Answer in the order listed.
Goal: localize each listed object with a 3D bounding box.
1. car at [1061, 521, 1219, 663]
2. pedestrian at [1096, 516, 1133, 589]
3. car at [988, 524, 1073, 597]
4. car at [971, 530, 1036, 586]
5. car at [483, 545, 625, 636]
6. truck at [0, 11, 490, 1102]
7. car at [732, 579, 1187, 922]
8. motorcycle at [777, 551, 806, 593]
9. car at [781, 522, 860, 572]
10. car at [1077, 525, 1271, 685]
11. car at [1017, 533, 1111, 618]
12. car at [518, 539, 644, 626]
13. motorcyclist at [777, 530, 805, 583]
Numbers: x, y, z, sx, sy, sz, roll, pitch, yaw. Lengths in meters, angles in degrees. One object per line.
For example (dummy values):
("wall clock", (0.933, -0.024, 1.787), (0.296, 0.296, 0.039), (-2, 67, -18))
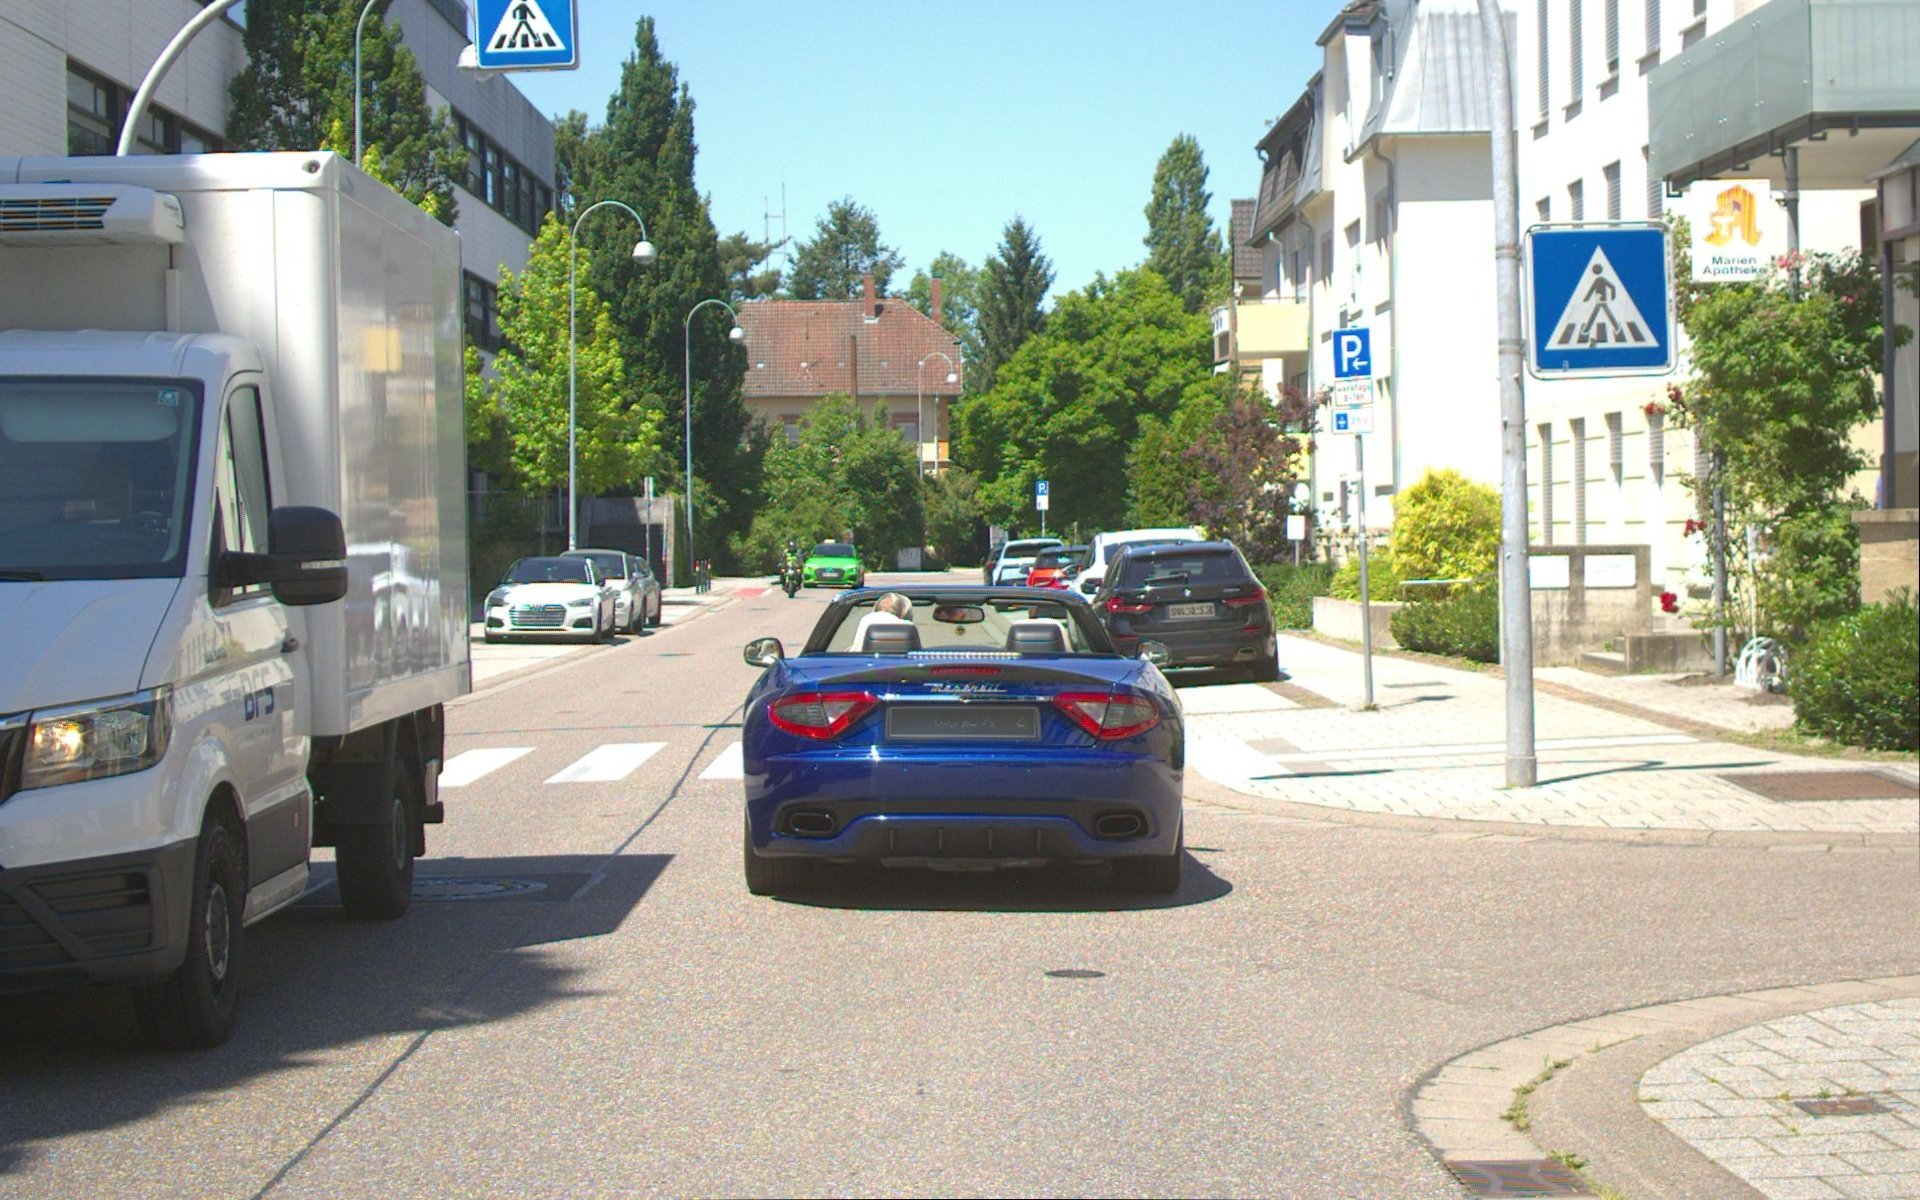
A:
("car", (2.201, -0.139, 42.990), (1.705, 1.660, 4.580), (0, 1, 0))
("pedestrian", (3.670, -1.130, 81.608), (0.740, 1.664, 0.706), (-3, 1, -2))
("car", (1.645, -0.955, 81.326), (1.843, 1.614, 4.427), (-2, 1, 0))
("car", (1.198, -1.182, 95.857), (1.631, 1.441, 4.398), (-3, 1, -1))
("car", (-6.672, -0.189, 56.911), (1.822, 1.406, 4.577), (1, 1, 0))
("truck", (-3.355, -0.154, 12.521), (2.420, 2.973, 6.258), (-1, 1, 0))
("car", (-0.027, 0.591, 16.167), (1.826, 1.332, 4.700), (0, 1, -1))
("motorcycle", (-4.641, -0.780, 94.822), (0.699, 1.103, 1.790), (-2, 1, 0))
("car", (-4.491, -1.704, 110.261), (1.822, 1.583, 4.102), (0, 1, -12))
("car", (2.227, 0.002, 36.866), (1.705, 1.551, 4.748), (-2, 1, 0))
("car", (1.921, -0.486, 64.275), (1.603, 1.436, 3.853), (-3, 1, 1))
("car", (-6.822, -0.341, 62.227), (1.822, 1.507, 4.290), (0, 1, 0))
("motorcyclist", (-4.645, -1.197, 94.647), (0.699, 1.428, 0.707), (-2, 1, 0))
